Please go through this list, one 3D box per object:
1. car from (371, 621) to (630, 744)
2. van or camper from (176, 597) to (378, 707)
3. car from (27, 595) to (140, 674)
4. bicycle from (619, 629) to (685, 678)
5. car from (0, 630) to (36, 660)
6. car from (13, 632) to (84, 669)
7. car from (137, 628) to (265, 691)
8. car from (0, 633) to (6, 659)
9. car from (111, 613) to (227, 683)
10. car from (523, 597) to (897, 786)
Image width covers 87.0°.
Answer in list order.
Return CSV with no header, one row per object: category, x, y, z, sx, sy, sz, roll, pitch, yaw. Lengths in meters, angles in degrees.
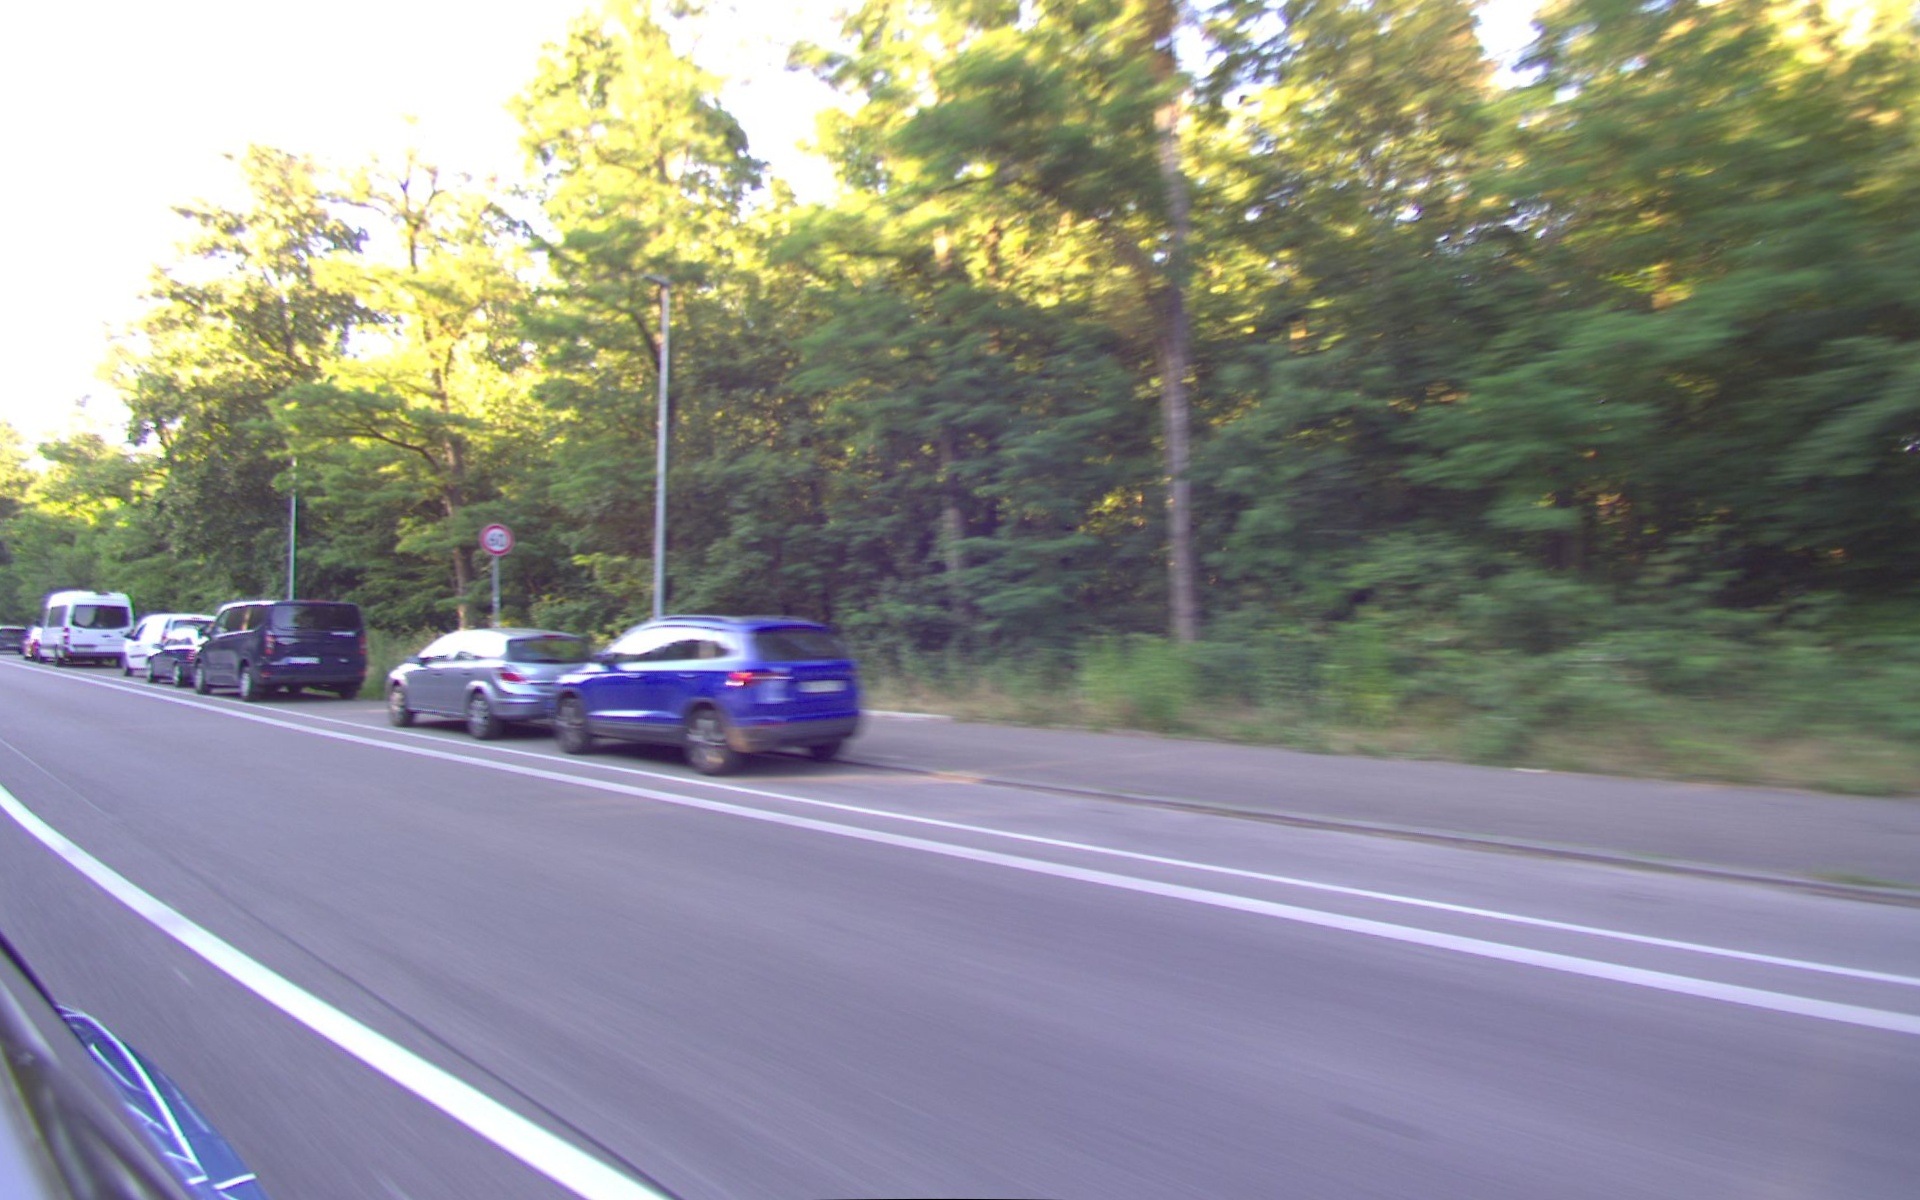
car,-6.656,1.098,14.469,4.242,1.513,1.652,-1,-4,40
van or camper,-14.491,1.077,21.324,5.455,2.033,1.982,-2,-4,39
car,-32.318,1.287,37.227,7.085,2.626,2.057,-2,-5,41
bicycle,-6.449,1.100,21.152,1.717,0.983,0.448,-2,-3,41
car,-49.824,2.341,52.734,4.224,1.474,1.827,-2,-4,39
car,-37.102,2.019,41.152,4.387,1.441,1.697,-2,-3,43
car,-19.163,1.469,25.471,4.445,1.444,1.652,-2,-4,41
car,-57.423,2.668,59.349,3.654,1.520,1.694,-2,-4,41
car,-22.950,1.351,29.321,4.382,1.872,1.671,-2,0,39
car,-2.952,0.919,11.397,4.518,1.725,1.727,-1,-4,40
